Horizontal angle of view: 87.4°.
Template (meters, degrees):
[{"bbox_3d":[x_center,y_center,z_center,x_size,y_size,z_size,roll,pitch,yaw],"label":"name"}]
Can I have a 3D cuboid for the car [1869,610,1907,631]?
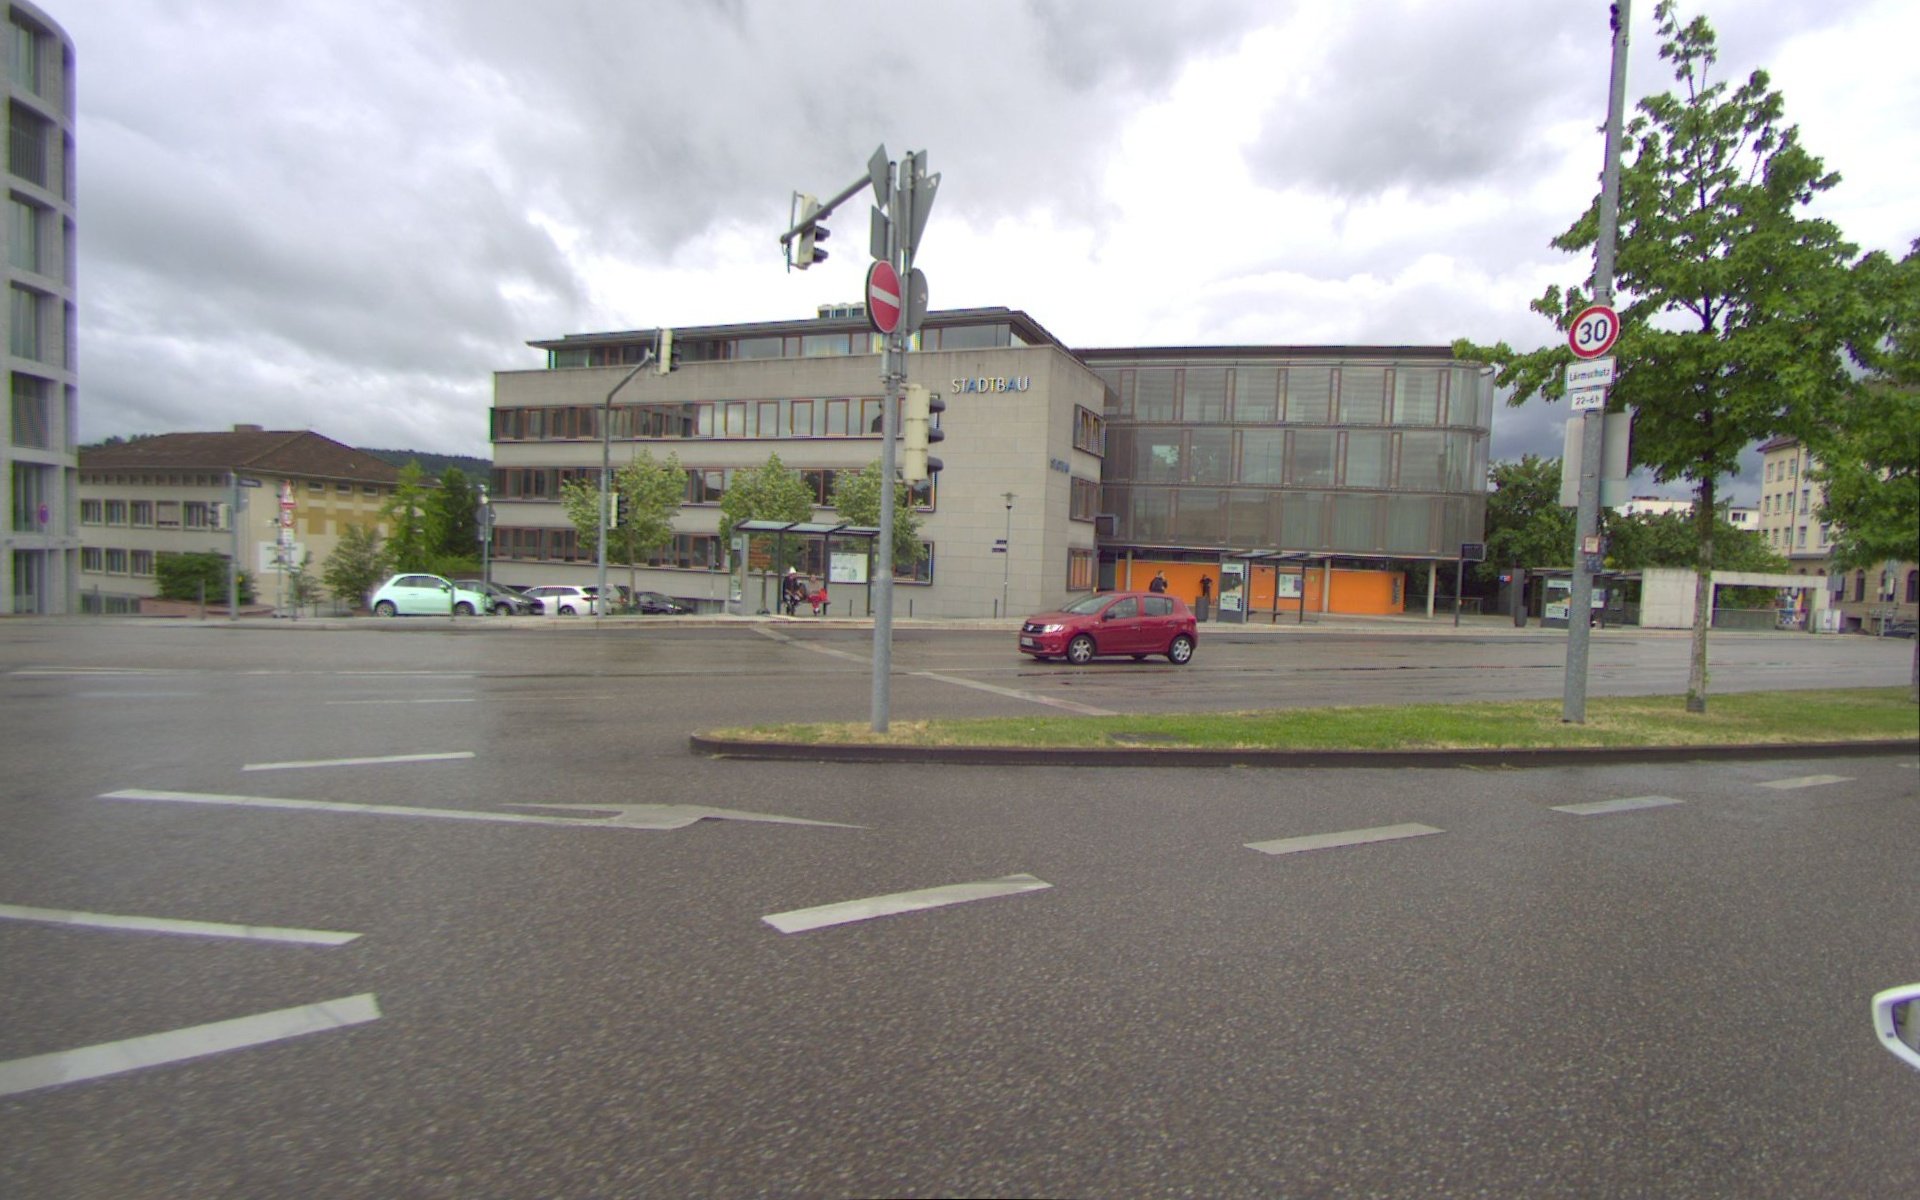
[{"bbox_3d":[74.410,1.639,80.567,1.634,1.626,3.245,-1,-1,31],"label":"car"}]

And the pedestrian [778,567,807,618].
[{"bbox_3d":[-5.024,-0.226,30.162,0.618,1.488,0.675,1,1,-30],"label":"pedestrian"}]

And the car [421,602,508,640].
[{"bbox_3d":[-20.360,0.839,41.388,1.453,1.369,3.584,3,1,6],"label":"car"}]

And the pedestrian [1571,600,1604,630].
[{"bbox_3d":[29.889,0.710,47.858,0.834,1.285,0.977,2,5,-7],"label":"pedestrian"}]

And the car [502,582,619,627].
[{"bbox_3d":[-15.023,0.143,37.869,3.711,1.515,1.767,2,1,11],"label":"car"}]

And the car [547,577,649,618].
[{"bbox_3d":[-14.615,-0.116,40.622,3.509,1.515,1.634,2,1,11],"label":"car"}]

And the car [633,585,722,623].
[{"bbox_3d":[-12.248,0.176,43.689,3.518,1.515,1.630,2,1,-10],"label":"car"}]

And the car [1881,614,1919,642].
[{"bbox_3d":[65.690,2.009,68.956,1.835,1.706,4.001,7,3,16],"label":"car"}]

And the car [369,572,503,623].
[{"bbox_3d":[-16.914,-0.091,32.586,3.520,1.515,1.628,2,1,-13],"label":"car"}]

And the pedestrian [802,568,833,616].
[{"bbox_3d":[-4.321,-0.241,30.456,0.712,1.411,0.675,1,1,-30],"label":"pedestrian"}]

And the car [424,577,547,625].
[{"bbox_3d":[-16.277,0.028,34.599,3.520,1.515,1.628,2,1,-13],"label":"car"}]

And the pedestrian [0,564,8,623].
[{"bbox_3d":[-26.686,-0.192,27.520,0.697,1.604,0.668,2,1,-30],"label":"pedestrian"}]

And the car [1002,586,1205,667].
[{"bbox_3d":[3.086,0.557,21.532,3.981,1.573,1.816,1,1,-27],"label":"car"}]

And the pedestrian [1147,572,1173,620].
[{"bbox_3d":[7.152,-0.141,35.973,0.752,1.706,0.473,1,1,-22],"label":"pedestrian"}]

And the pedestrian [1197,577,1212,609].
[{"bbox_3d":[13.472,-0.389,55.354,0.630,1.706,0.475,1,1,3],"label":"pedestrian"}]
